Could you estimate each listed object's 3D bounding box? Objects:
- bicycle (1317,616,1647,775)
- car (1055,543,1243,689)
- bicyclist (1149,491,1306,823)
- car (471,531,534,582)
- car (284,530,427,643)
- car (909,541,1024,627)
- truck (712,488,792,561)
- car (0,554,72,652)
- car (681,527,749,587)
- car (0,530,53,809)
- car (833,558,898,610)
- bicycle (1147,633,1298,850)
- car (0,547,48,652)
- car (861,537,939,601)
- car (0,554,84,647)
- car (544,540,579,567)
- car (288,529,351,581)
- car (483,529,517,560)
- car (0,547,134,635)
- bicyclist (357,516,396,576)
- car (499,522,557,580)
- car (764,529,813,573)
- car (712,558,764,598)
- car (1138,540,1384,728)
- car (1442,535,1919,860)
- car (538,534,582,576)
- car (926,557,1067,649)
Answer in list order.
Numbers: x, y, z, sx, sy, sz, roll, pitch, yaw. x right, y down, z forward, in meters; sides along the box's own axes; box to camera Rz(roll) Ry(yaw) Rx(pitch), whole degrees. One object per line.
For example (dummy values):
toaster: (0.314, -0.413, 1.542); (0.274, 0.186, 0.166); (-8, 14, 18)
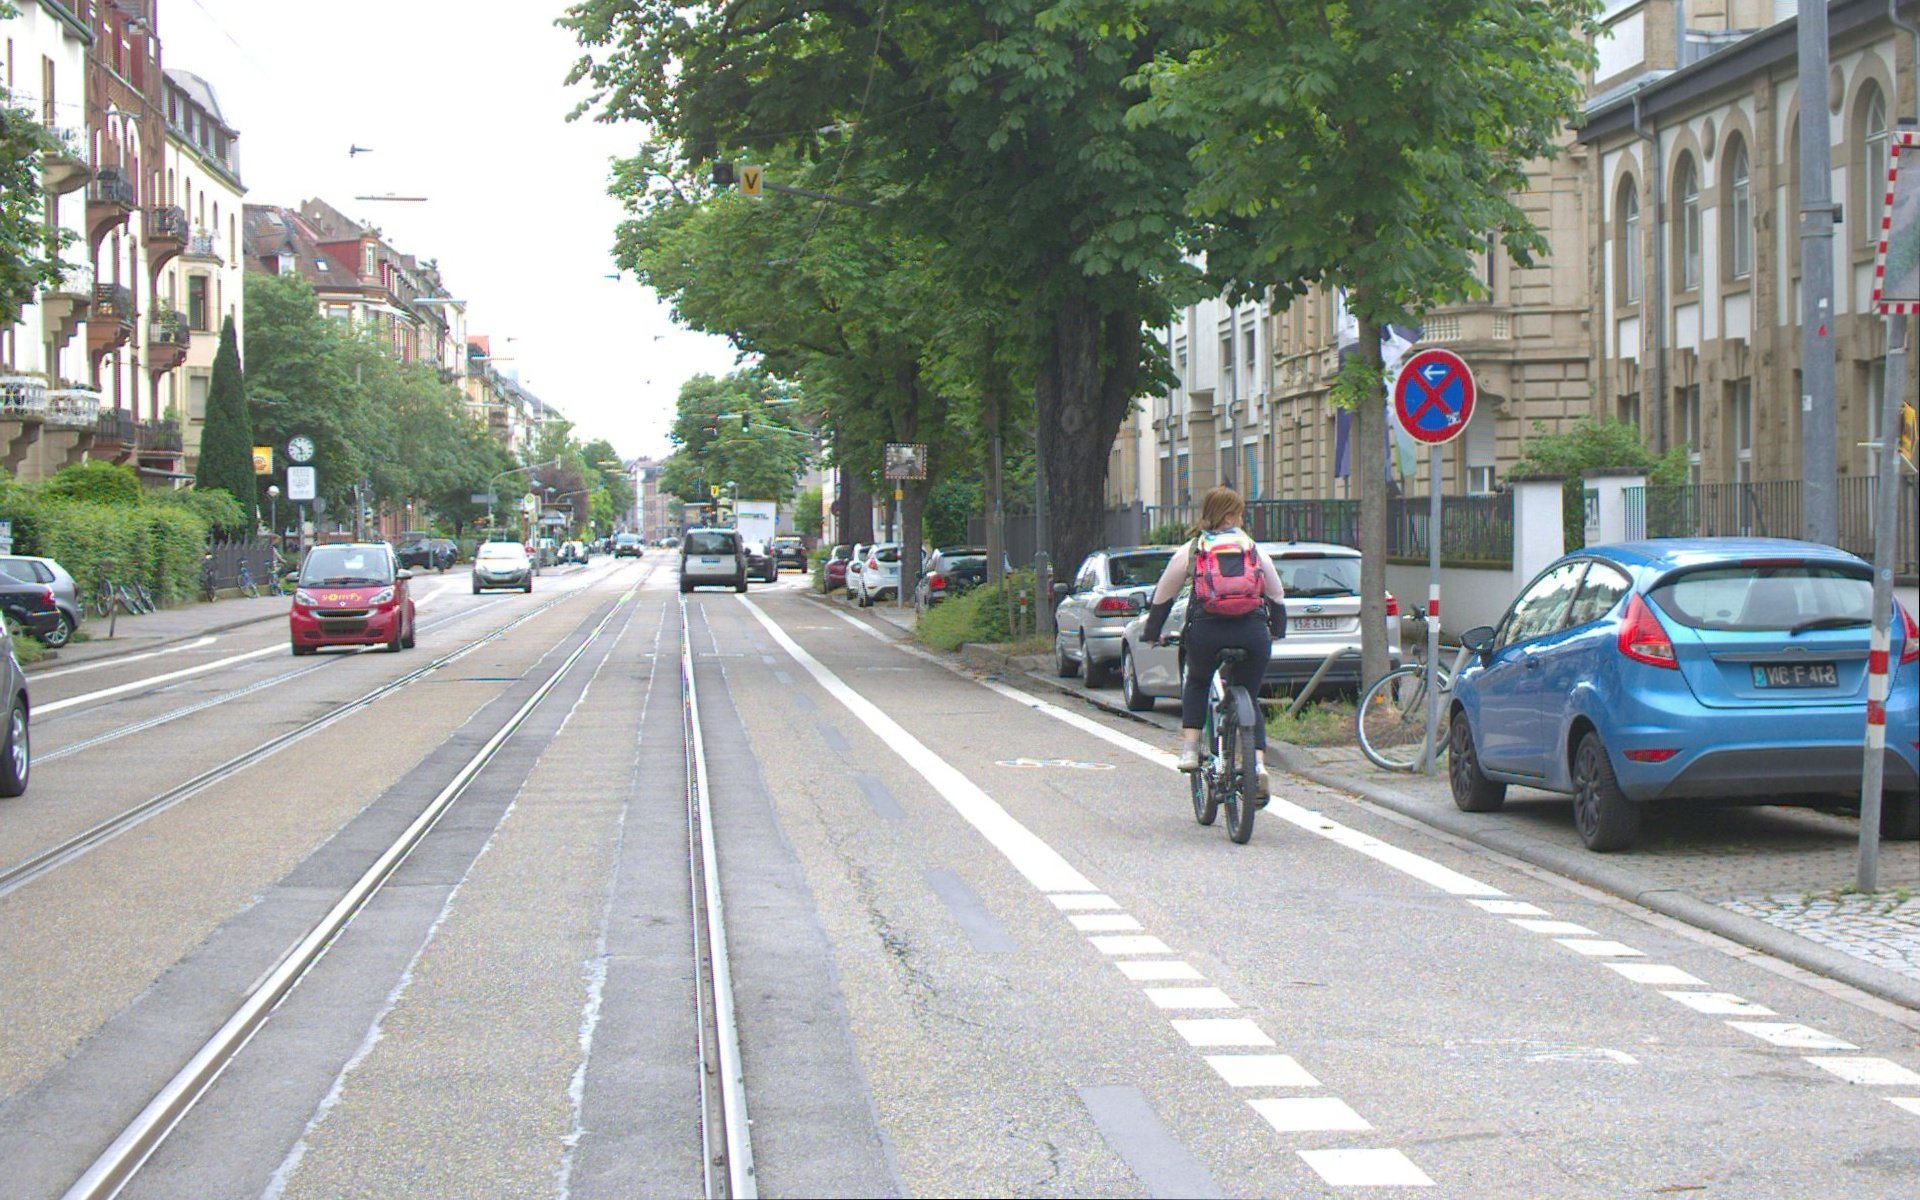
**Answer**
bicycle: (3.337, 0.604, 22.010); (2.012, 0.953, 0.534); (-1, 1, -8)
car: (1.945, 0.133, 36.276); (1.475, 1.424, 3.566); (-1, 1, -5)
bicyclist: (1.322, 0.267, 17.122); (0.657, 1.605, 0.920); (-1, 1, -3)
car: (-13.323, -1.286, 100.226); (1.740, 1.424, 4.001); (-1, 1, -7)
car: (-8.322, -0.191, 47.530); (1.676, 1.517, 2.782); (0, 0, -4)
car: (0.075, -0.301, 58.790); (1.791, 1.394, 3.795); (-1, 1, -2)
truck: (-12.072, -4.356, 198.566); (3.807, 4.015, 10.221); (-1, 1, -8)
car: (-14.835, 0.022, 49.396); (3.707, 1.381, 1.700); (0, 1, -28)
car: (-7.016, -1.231, 98.730); (1.811, 1.702, 3.699); (0, 0, -2)
car: (-6.205, 0.418, 18.472); (1.900, 1.525, 3.755); (-2, 1, -5)
car: (-2.705, -0.461, 97.909); (1.770, 1.394, 3.795); (-1, 1, -2)
bicycle: (1.302, 0.682, 17.352); (0.489, 0.976, 2.058); (0, 1, -3)
car: (-13.834, -0.013, 43.912); (1.698, 1.347, 3.959); (2, 1, 40)
car: (-1.374, -0.722, 77.727); (1.667, 1.394, 3.661); (-1, 1, -2)
car: (-15.411, -0.008, 52.345); (3.707, 1.381, 1.700); (0, 1, -28)
car: (-25.080, -2.917, 216.479); (1.772, 1.638, 3.566); (-1, 1, -1)
car: (-28.054, -1.996, 150.686); (2.177, 2.199, 4.219); (-1, 1, -4)
car: (-31.383, -3.781, 234.803); (1.820, 2.060, 3.880); (-1, 1, -1)
car: (-15.402, -0.152, 55.458); (3.707, 1.381, 1.700); (0, 1, -28)
bicyclist: (-14.830, -1.369, 87.404); (0.843, 1.495, 1.027); (-1, 1, -3)
car: (-18.347, -2.108, 146.172); (2.205, 2.409, 4.001); (-1, 1, -4)
car: (-7.950, -2.277, 159.349); (1.993, 2.007, 4.001); (-1, 1, -6)
car: (-8.191, -0.832, 127.066); (1.770, 1.394, 3.795); (-1, 1, -2)
car: (2.486, 0.240, 29.095); (1.475, 1.476, 3.566); (0, 1, -5)
car: (3.637, 0.410, 17.265); (1.673, 1.455, 3.433); (0, 1, -5)
car: (-22.147, -2.503, 190.395); (2.205, 2.248, 4.001); (-1, 1, -4)
car: (0.498, 0.015, 50.745); (1.873, 1.247, 4.001); (-1, 1, -2)
